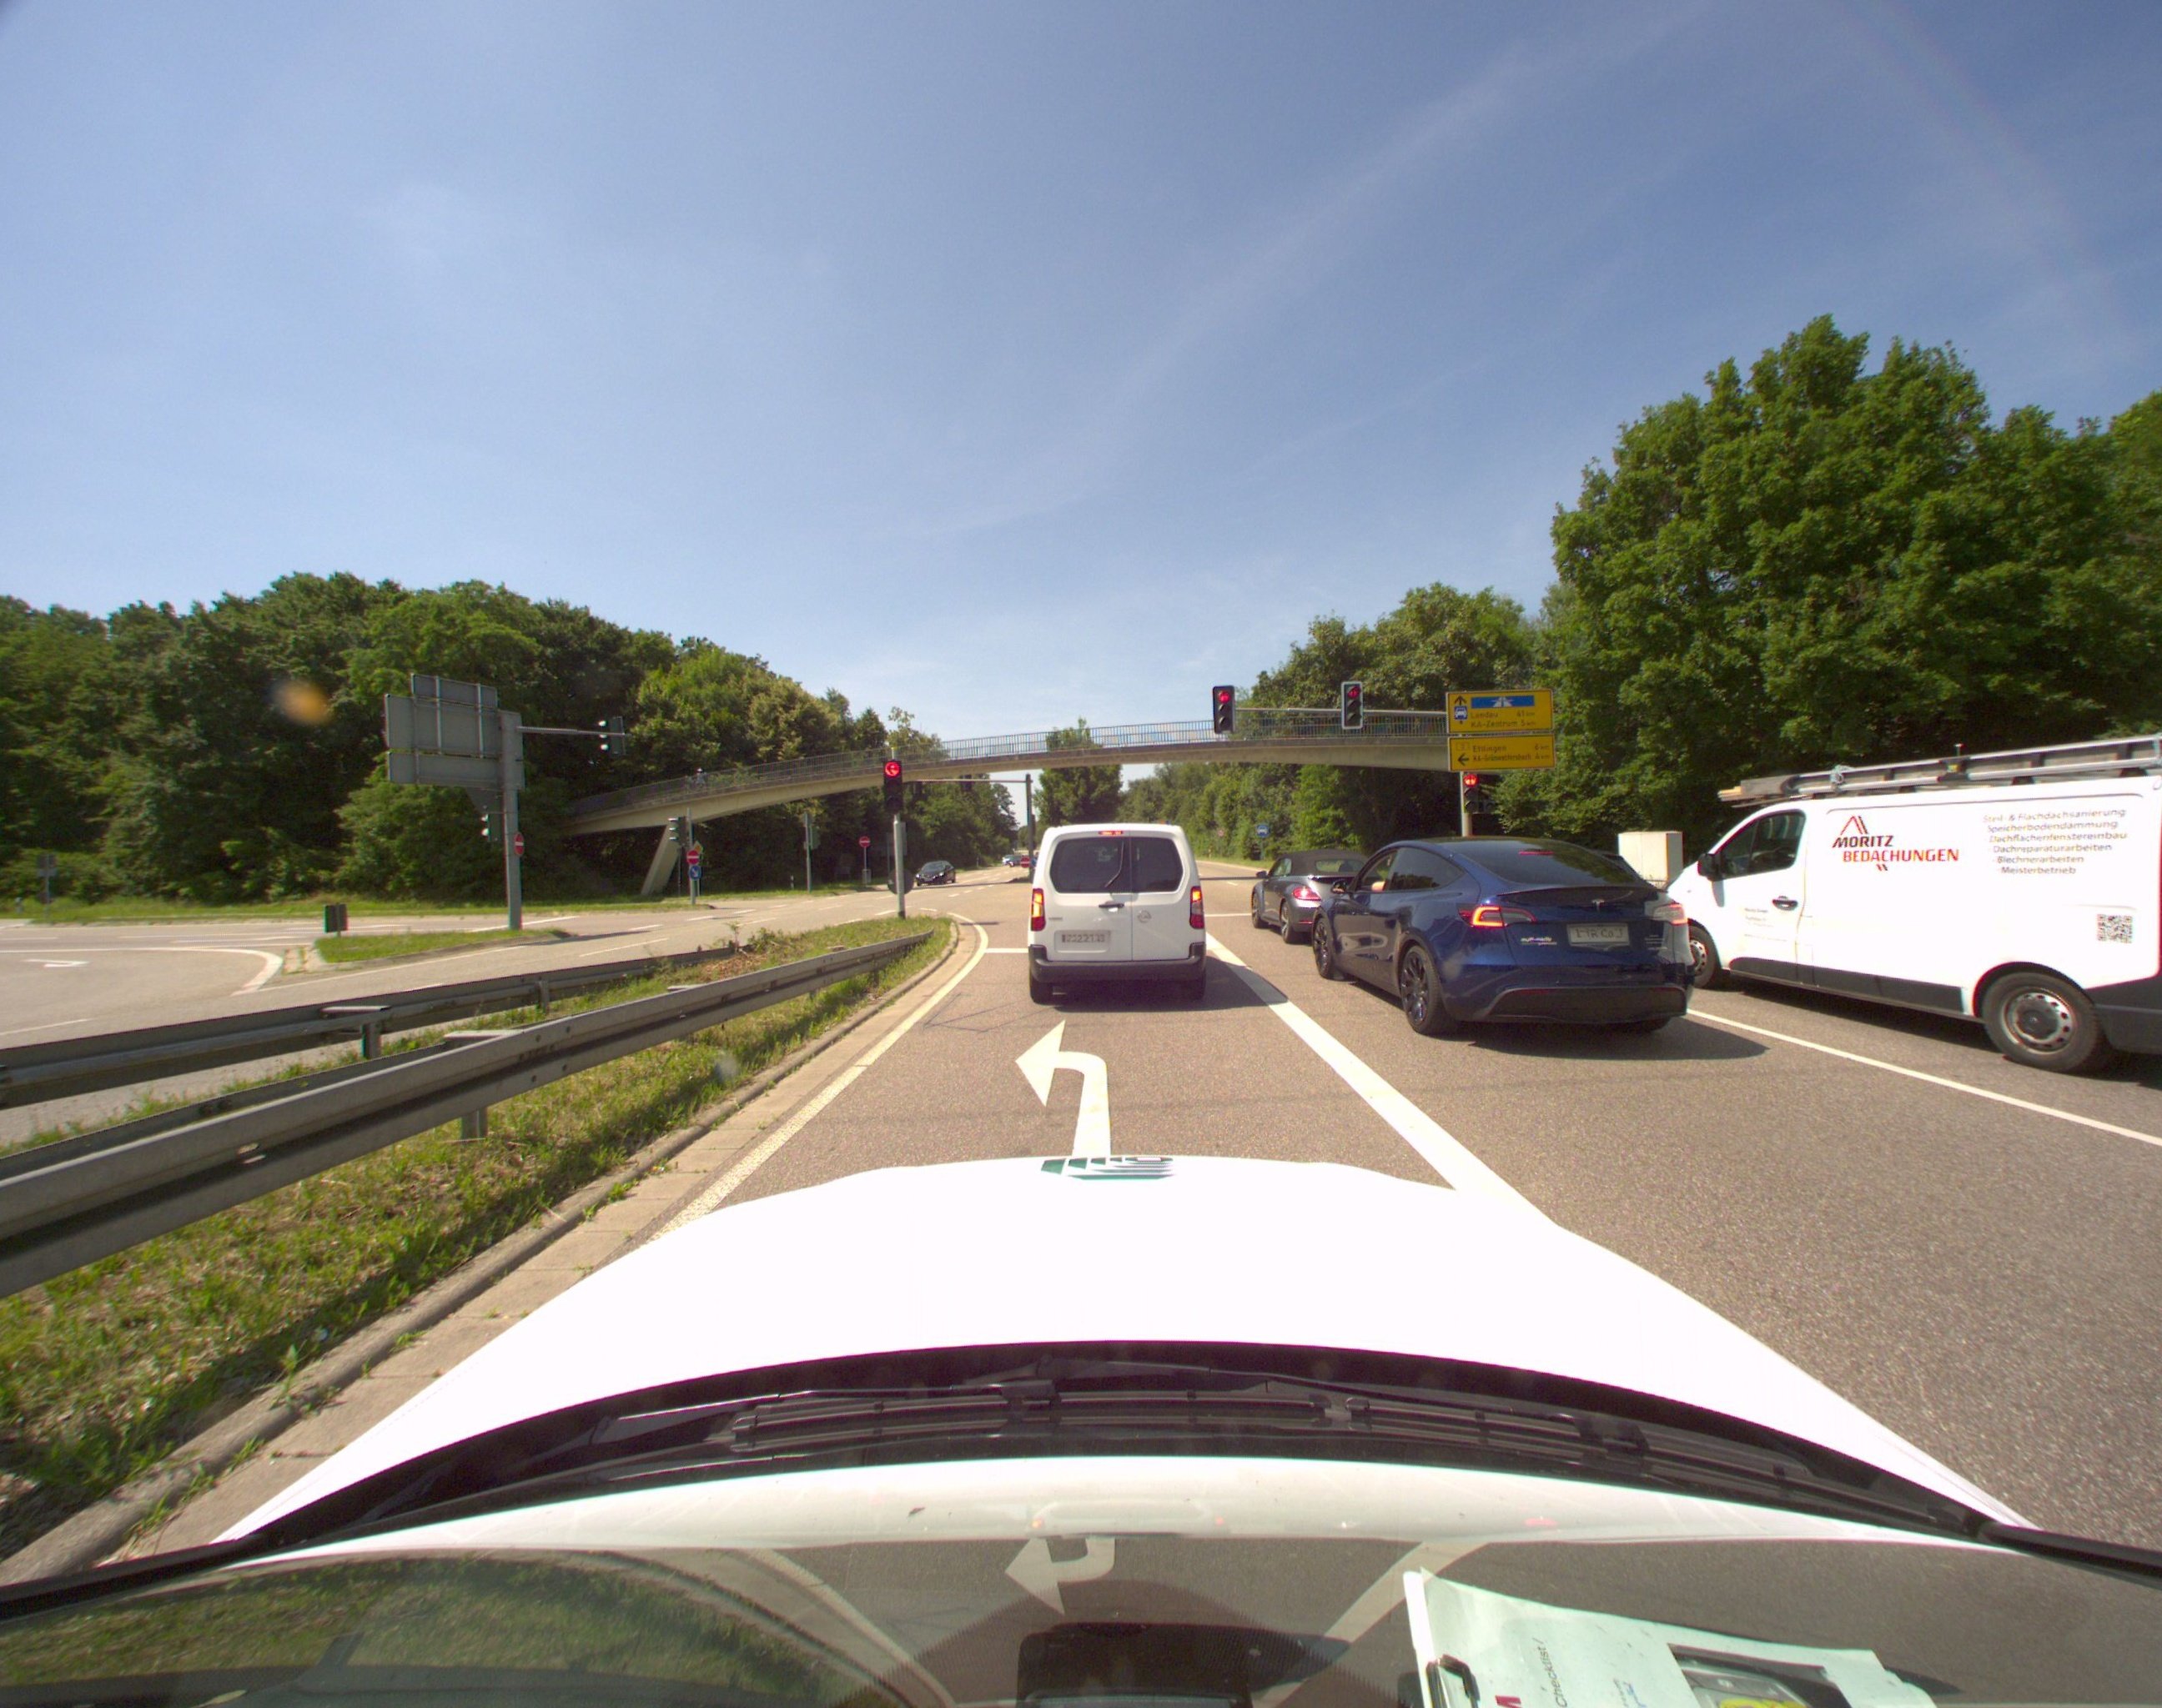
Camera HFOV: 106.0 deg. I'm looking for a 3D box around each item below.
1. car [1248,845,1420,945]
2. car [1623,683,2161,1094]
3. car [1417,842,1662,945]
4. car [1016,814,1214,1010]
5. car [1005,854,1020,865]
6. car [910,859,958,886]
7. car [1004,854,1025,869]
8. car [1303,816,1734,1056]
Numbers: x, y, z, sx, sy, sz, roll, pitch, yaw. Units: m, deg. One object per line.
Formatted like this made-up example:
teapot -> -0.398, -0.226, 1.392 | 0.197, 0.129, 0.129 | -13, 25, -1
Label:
car -> 4.163, 0.600, 14.072 | 1.893, 1.477, 3.941 | -1, 0, 2
car -> 7.222, 0.180, 6.955 | 1.925, 2.349, 5.077 | -1, 0, 2
car -> 7.548, 0.568, 14.012 | 1.893, 1.477, 4.383 | -1, 0, 2
car -> 0.374, 0.515, 9.656 | 1.842, 1.825, 3.983 | -1, 1, 1
car -> -10.086, 0.769, 120.165 | 1.746, 1.406, 4.002 | -3, 0, 2
car -> -9.100, 1.129, 50.614 | 2.000, 1.460, 4.057 | -4, 0, 2
car -> -8.184, 0.902, 100.735 | 1.986, 1.665, 4.002 | -3, 0, 2
car -> 3.628, 0.557, 7.880 | 1.893, 1.644, 4.523 | -1, 0, 2
